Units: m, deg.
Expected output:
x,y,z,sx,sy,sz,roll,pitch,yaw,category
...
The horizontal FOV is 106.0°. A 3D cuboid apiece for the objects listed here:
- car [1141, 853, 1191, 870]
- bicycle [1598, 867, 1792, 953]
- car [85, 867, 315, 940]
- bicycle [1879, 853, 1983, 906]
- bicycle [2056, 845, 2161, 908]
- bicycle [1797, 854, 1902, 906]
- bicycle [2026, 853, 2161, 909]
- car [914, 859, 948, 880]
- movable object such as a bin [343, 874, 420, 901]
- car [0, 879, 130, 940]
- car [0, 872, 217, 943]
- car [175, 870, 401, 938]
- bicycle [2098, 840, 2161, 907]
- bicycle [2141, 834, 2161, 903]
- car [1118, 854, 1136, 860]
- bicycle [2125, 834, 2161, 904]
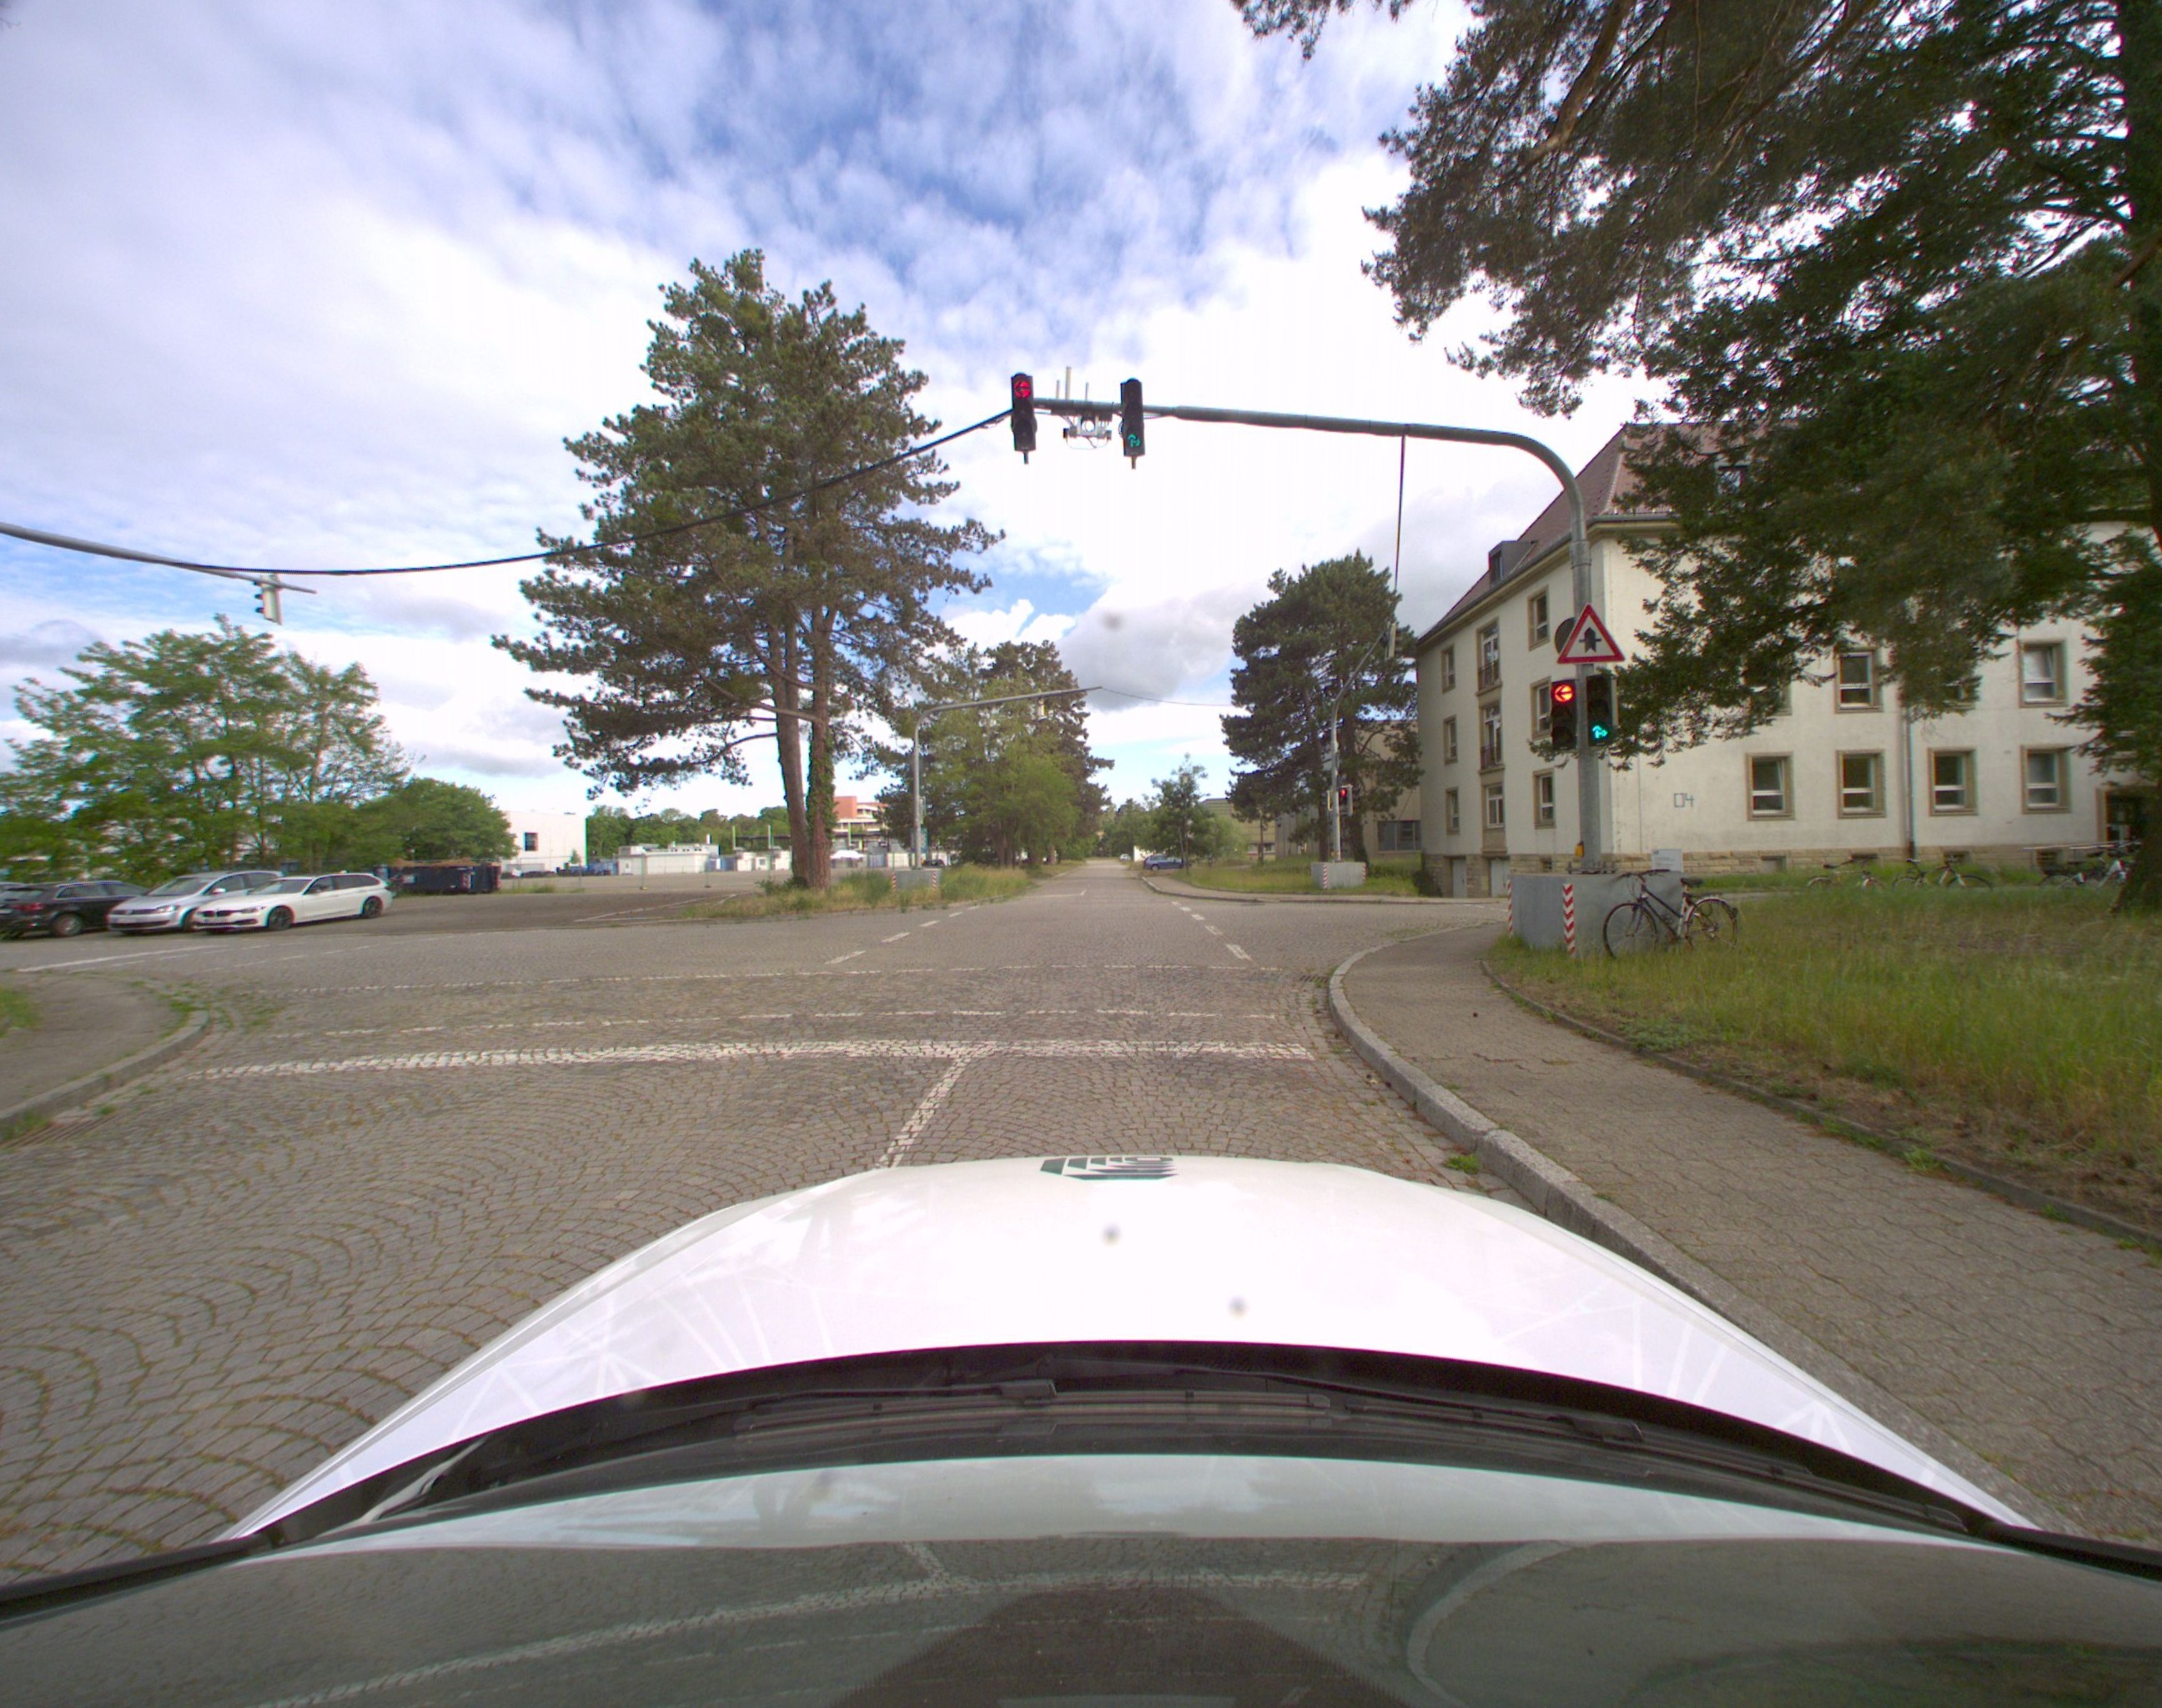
x,y,z,sx,sy,sz,roll,pitch,yaw,category
7.792,0.720,75.017,4.331,1.422,2.000,-1,0,-1,car
6.783,0.611,9.044,1.693,0.874,0.573,-1,0,1,bicycle
-24.873,1.312,23.283,1.816,1.584,4.325,-1,2,-1,car
17.288,0.513,16.579,1.531,1.014,0.543,-1,0,0,bicycle
19.430,0.393,15.112,0.538,1.101,1.906,-1,0,7,bicycle
15.533,0.517,16.476,1.615,0.980,0.530,-1,0,0,bicycle
18.779,0.468,15.073,0.538,0.949,1.906,-1,0,7,bicycle
-11.088,1.135,60.528,1.607,1.487,4.002,-1,0,2,car
-30.880,1.443,36.008,1.175,1.048,2.655,-2,0,-3,movable object such as a bin
-30.308,1.574,23.006,1.788,1.566,4.324,-1,0,-1,car
-27.633,1.428,22.988,1.850,1.501,4.325,-1,3,-1,car
-22.379,1.330,23.331,1.804,1.441,4.739,-1,2,-1,car
20.003,0.345,15.028,0.538,1.215,1.642,-1,0,7,bicycle
21.073,0.278,15.040,0.573,1.320,1.979,-1,0,7,bicycle
10.929,0.653,192.104,3.979,1.398,1.997,-1,0,-4,car
20.501,0.281,14.858,0.435,1.320,2.052,-1,0,7,bicycle
